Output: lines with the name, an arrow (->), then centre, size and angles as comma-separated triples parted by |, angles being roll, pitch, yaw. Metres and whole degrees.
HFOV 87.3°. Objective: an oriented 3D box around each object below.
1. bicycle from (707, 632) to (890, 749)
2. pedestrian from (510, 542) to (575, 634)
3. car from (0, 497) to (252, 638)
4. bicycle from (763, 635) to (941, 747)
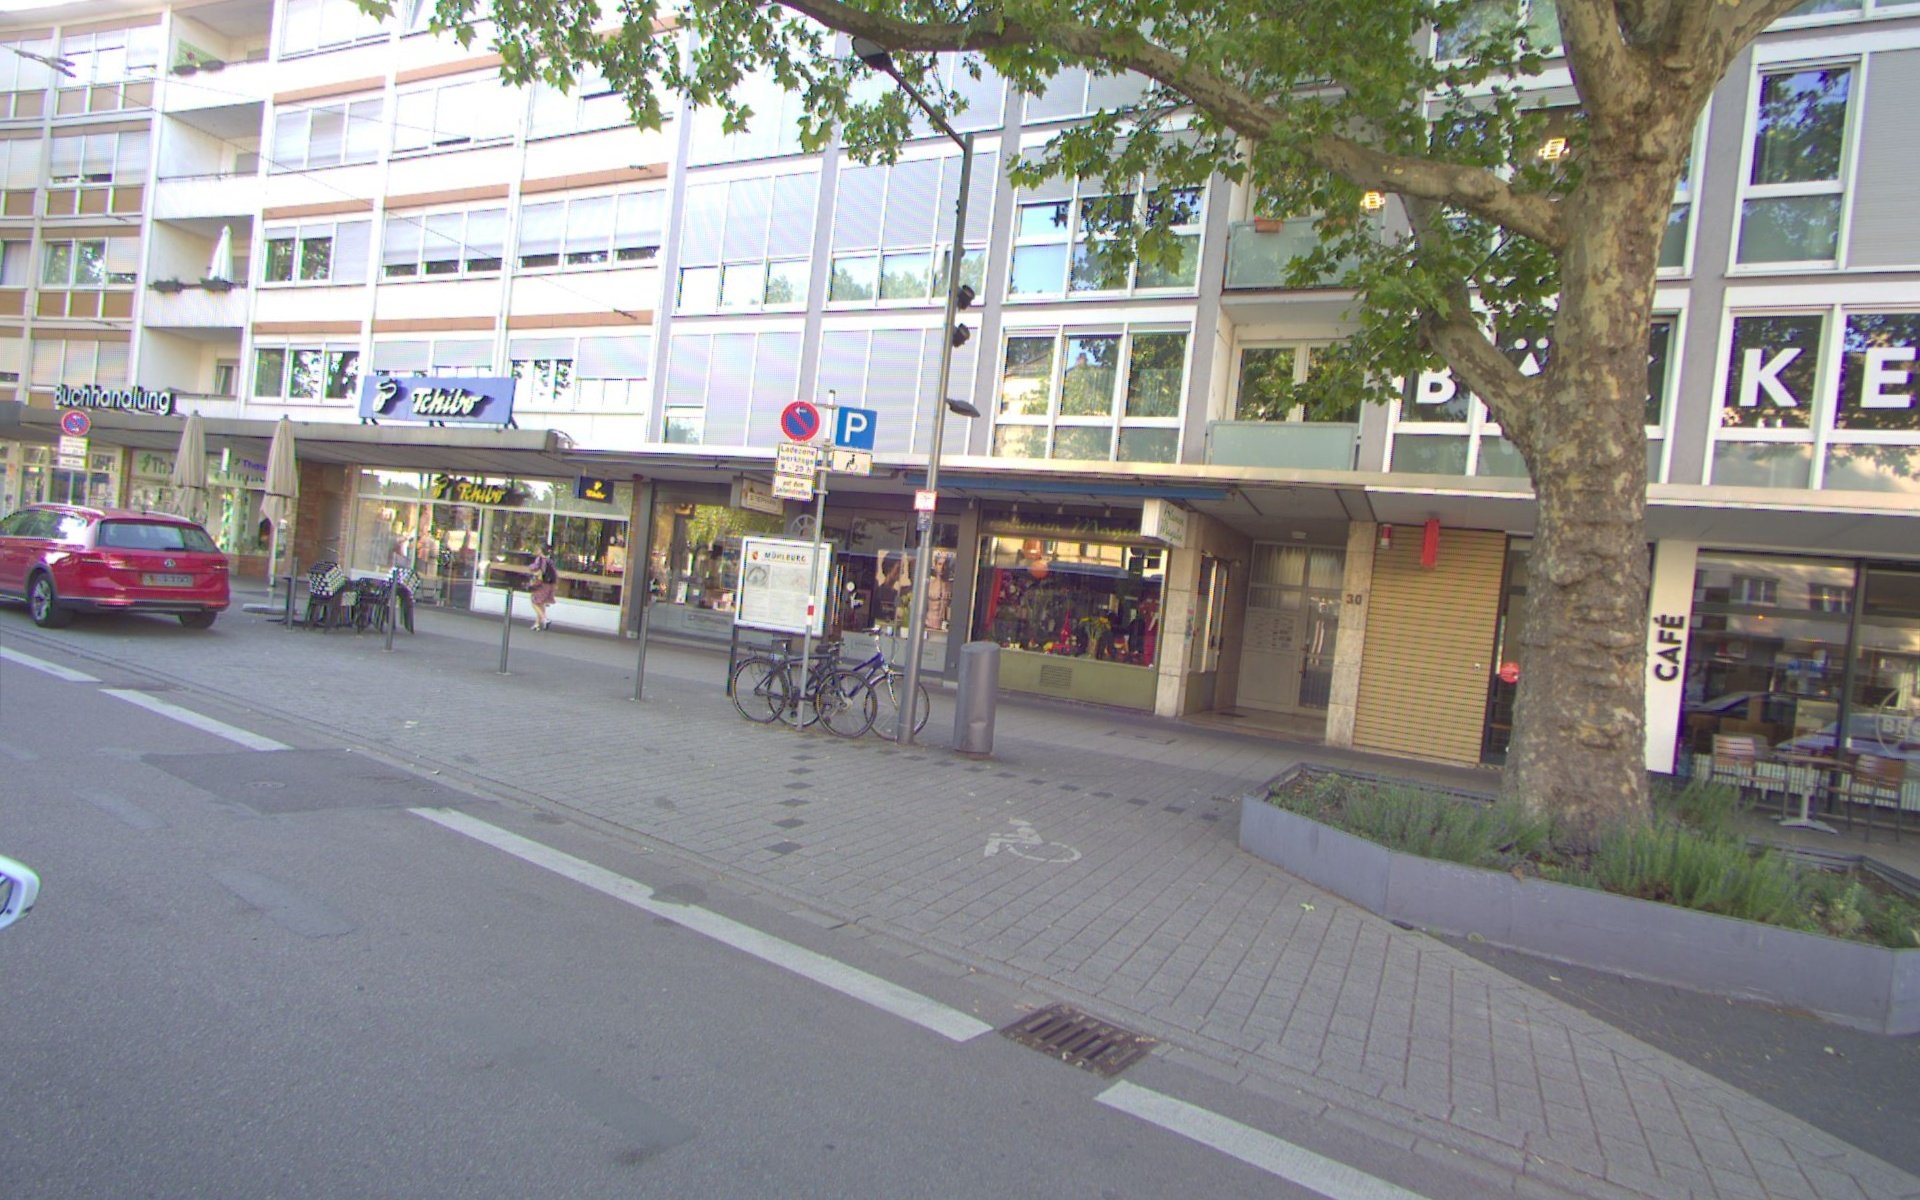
bicycle -> -1.646, 0.900, 10.237 | 1.743, 0.951, 0.391 | 6, 2, 12
pedestrian -> -7.728, -0.216, 18.639 | 0.776, 1.613, 0.651 | 7, 2, 26
car -> -11.635, -0.490, 13.457 | 4.229, 1.502, 1.772 | 6, 1, 28
bicycle -> -1.133, 0.932, 10.557 | 1.743, 0.931, 0.391 | 6, 2, 12
